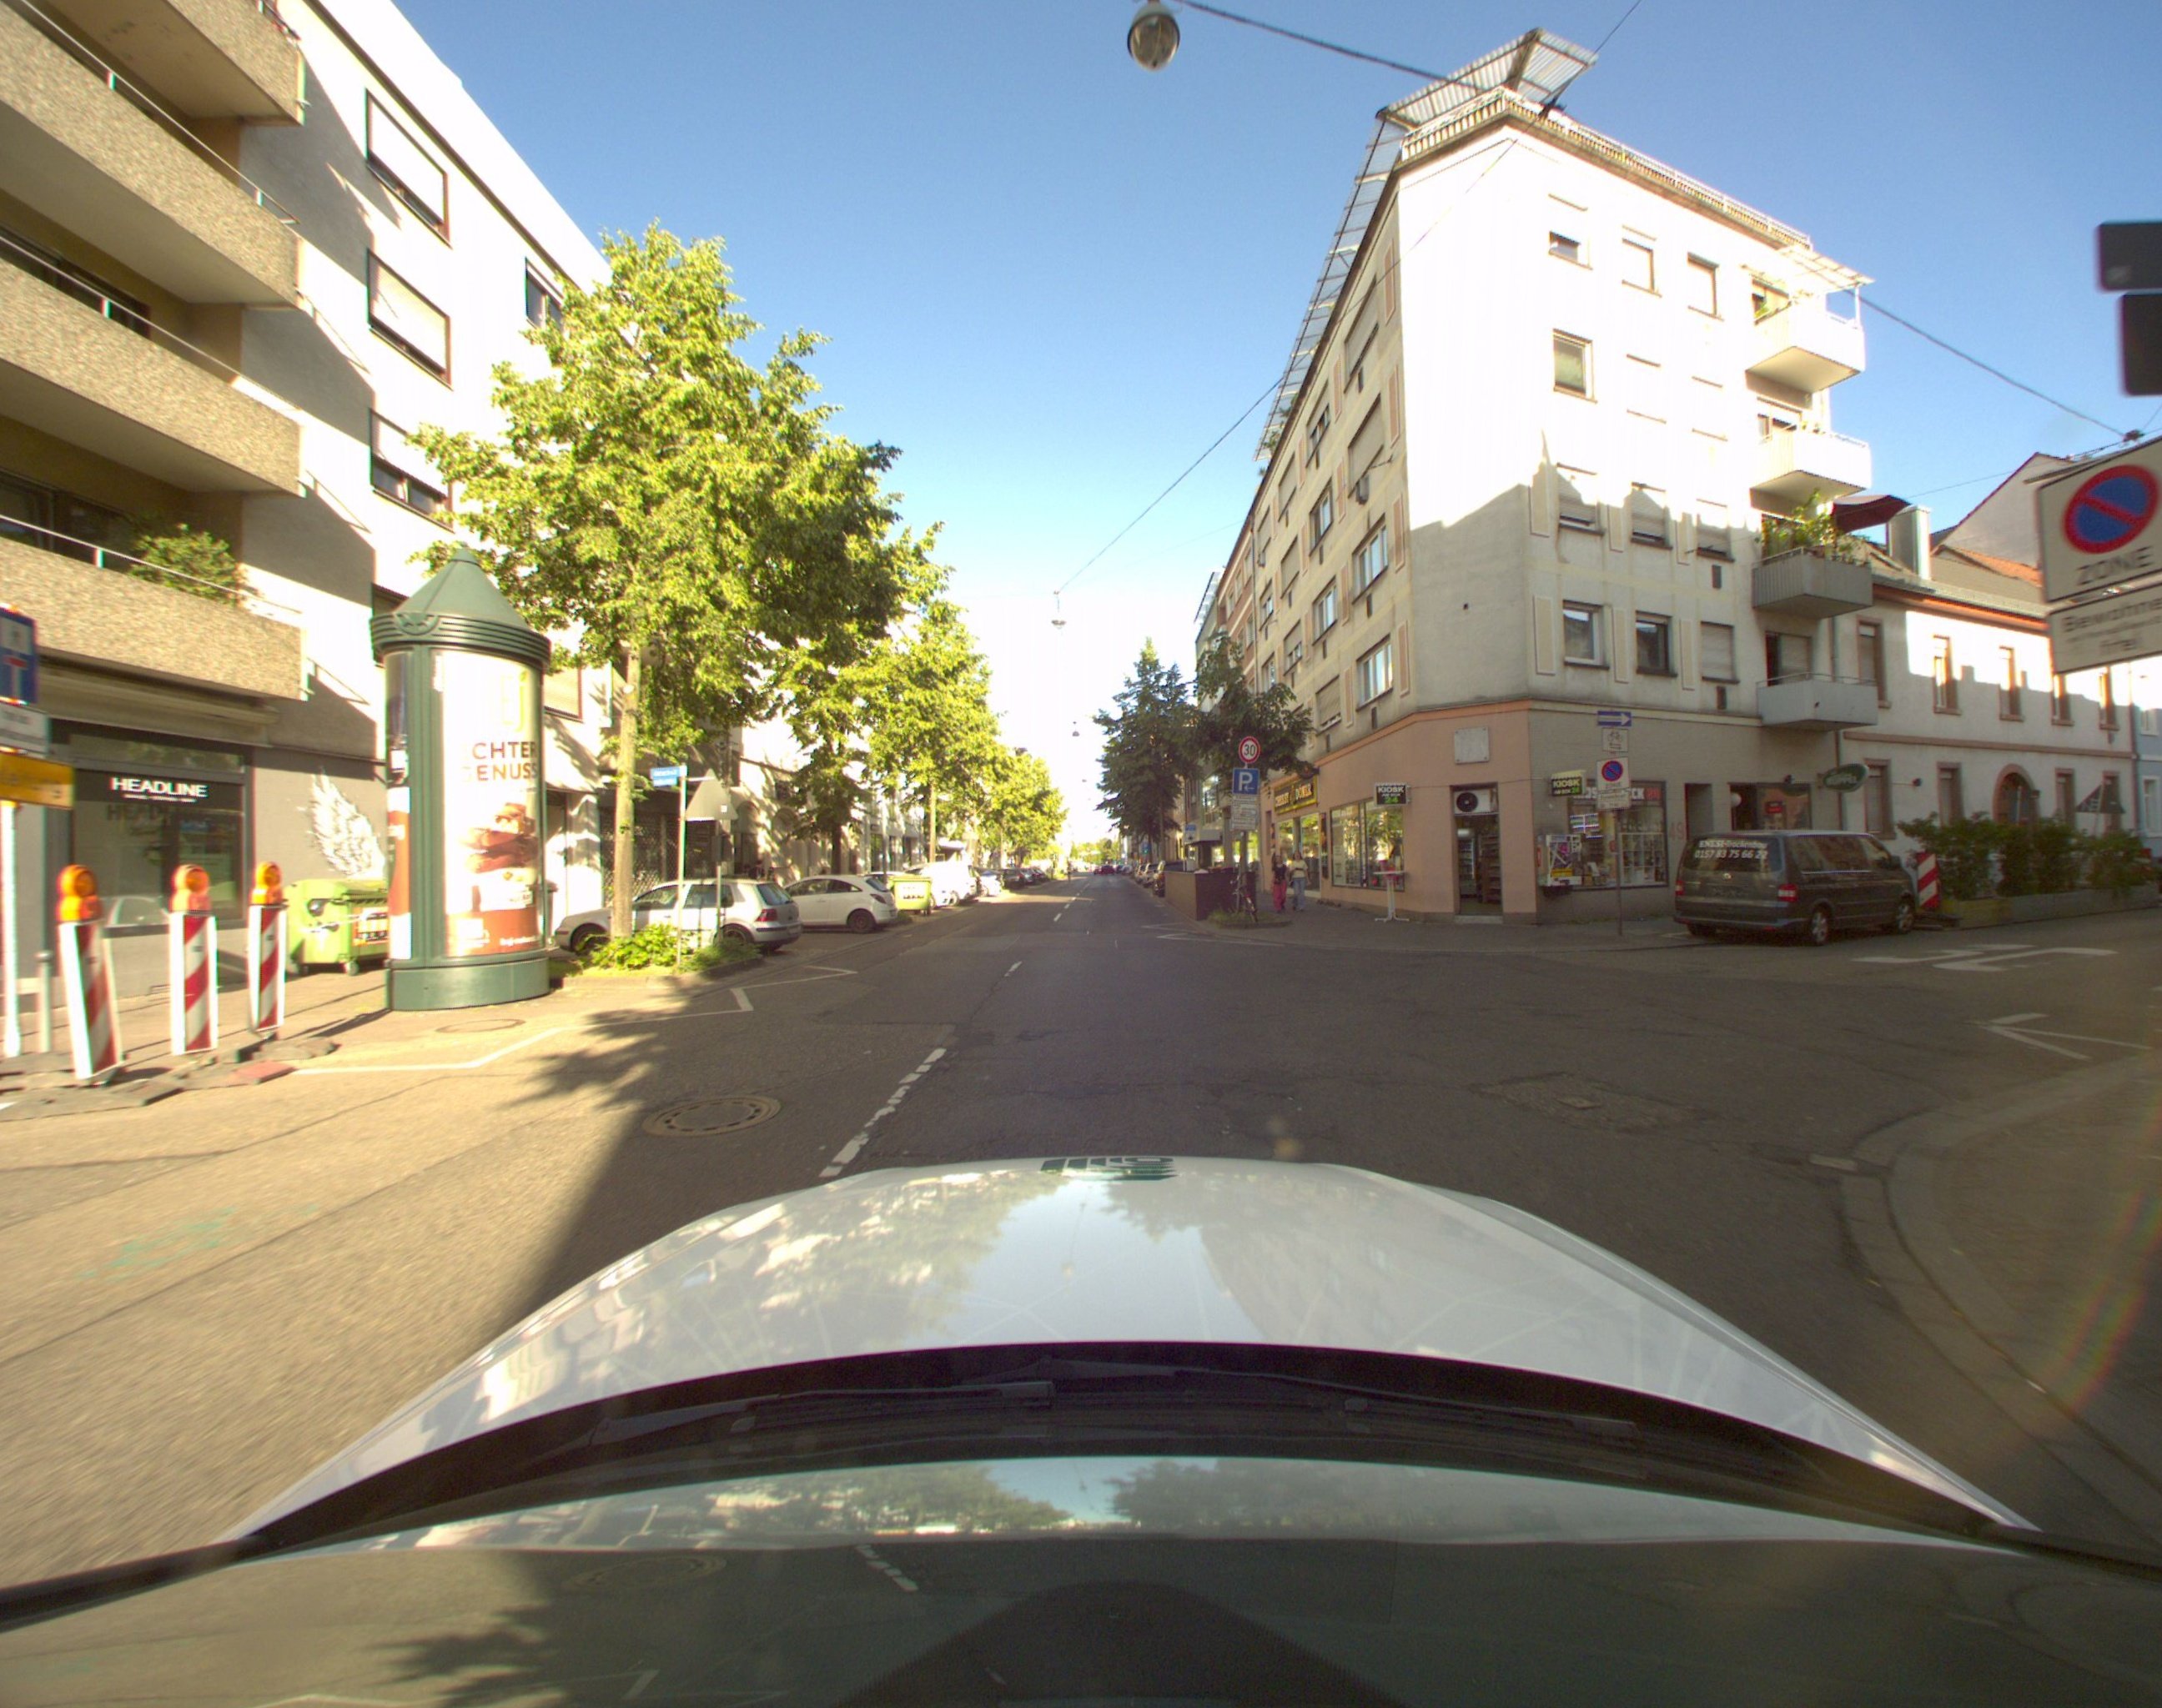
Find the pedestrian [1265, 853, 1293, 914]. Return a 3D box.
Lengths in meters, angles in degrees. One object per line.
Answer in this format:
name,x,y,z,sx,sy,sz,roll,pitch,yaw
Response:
pedestrian,5.523,0.803,22.733,0.512,1.645,0.748,-3,-1,0

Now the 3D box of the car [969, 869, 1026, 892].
car,-5.742,1.835,56.143,3.775,1.459,1.777,-1,-1,-6

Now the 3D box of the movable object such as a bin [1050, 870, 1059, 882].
movable object such as a bin,-3.250,2.715,100.762,1.038,1.471,1.143,-2,-1,0

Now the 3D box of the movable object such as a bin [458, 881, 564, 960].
movable object such as a bin,-11.155,1.275,16.000,1.073,1.415,1.352,-2,-1,2

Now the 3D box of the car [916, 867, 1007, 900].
car,-6.179,1.511,42.458,4.350,1.570,1.947,-1,-1,1

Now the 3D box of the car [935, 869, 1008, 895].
car,-6.623,1.709,49.568,4.235,1.459,1.978,-1,-1,-3

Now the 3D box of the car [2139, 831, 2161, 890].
car,32.166,0.145,22.913,3.824,1.644,1.927,-1,-2,-22

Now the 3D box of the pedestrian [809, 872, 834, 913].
pedestrian,-9.719,1.429,30.534,0.590,1.494,0.843,1,-1,3

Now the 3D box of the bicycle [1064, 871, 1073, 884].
bicycle,-1.201,2.308,79.868,0.722,1.169,2.198,-2,-1,2

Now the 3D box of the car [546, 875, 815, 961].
car,-7.165,1.134,14.874,3.983,1.464,1.748,0,-3,1

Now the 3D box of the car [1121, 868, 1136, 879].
car,7.002,2.882,120.070,1.910,1.478,4.966,-5,-1,2

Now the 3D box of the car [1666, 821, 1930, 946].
car,12.835,0.431,14.565,4.502,1.917,1.926,-2,0,-26

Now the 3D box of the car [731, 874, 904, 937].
car,-6.539,1.267,20.499,3.767,1.464,1.709,-1,-1,-2

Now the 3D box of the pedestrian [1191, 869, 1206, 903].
pedestrian,4.770,1.291,33.001,0.468,1.331,0.485,-1,-2,21

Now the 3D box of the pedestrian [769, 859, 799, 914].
pedestrian,-9.101,0.987,25.001,0.563,1.627,0.727,3,-2,0

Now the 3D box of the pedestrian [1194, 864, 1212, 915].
pedestrian,3.680,1.059,24.636,0.471,1.529,0.462,-1,-2,2

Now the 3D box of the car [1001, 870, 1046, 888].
car,-5.179,2.270,73.717,3.903,1.485,1.772,-1,-1,3

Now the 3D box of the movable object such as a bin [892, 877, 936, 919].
movable object such as a bin,-5.530,1.451,27.049,1.233,1.302,0.870,-2,-1,0

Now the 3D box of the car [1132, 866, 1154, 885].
car,5.334,1.833,70.093,1.608,1.529,3.061,-3,-1,1

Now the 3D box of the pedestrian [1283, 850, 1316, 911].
pedestrian,6.114,0.740,22.813,0.639,1.645,0.748,-3,-1,0

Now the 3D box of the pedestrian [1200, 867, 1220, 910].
pedestrian,4.281,1.139,27.083,0.550,1.379,0.594,-1,-2,2

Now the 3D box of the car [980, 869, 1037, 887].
car,-5.952,2.004,67.165,4.478,1.459,1.790,0,-1,0

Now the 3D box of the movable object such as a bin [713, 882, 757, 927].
movable object such as a bin,-11.068,1.597,26.069,0.818,1.398,1.228,-1,-1,4

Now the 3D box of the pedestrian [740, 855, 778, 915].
pedestrian,-9.869,0.946,24.995,0.772,1.766,0.763,3,-2,-1

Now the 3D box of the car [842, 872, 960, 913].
car,-6.709,1.422,30.707,3.964,1.464,1.887,-1,-1,2

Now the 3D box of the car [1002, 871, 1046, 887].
car,-5.308,2.356,76.289,3.825,1.429,1.791,-1,-1,3

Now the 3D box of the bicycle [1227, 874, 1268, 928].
bicycle,3.922,1.085,19.304,0.505,1.163,2.145,-2,-1,1

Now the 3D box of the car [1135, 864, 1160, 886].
car,5.194,1.669,64.217,1.608,1.529,4.235,-5,-1,1

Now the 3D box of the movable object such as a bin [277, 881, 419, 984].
movable object such as a bin,-11.338,1.180,12.658,1.029,1.460,1.259,-2,-1,2

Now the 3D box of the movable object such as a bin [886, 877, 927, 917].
movable object such as a bin,-5.997,1.470,28.048,1.188,1.345,0.932,-1,-1,0

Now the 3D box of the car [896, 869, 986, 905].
car,-6.463,1.515,37.911,3.785,1.558,1.792,-1,-1,2

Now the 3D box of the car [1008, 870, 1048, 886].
car,-5.117,2.278,78.819,3.735,1.468,1.740,-1,-1,1

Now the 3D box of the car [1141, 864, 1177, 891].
car,4.887,1.452,51.824,1.876,1.527,4.234,-4,-1,1

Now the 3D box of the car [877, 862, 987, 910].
car,-6.066,1.289,33.490,4.090,1.836,2.039,-1,-1,2

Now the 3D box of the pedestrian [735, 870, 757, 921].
pedestrian,-11.175,1.370,27.153,0.431,1.672,0.639,-1,-2,4

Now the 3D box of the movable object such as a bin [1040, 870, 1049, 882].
movable object such as a bin,-4.531,2.759,100.864,0.960,1.471,1.143,-2,-2,0

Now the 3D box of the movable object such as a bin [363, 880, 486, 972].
movable object such as a bin,-11.244,1.207,14.004,1.029,1.460,1.259,-2,-1,2

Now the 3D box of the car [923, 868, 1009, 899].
car,-6.286,1.626,44.889,4.350,1.570,1.981,-1,-1,1

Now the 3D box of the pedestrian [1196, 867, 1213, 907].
pedestrian,4.246,1.124,28.043,0.471,1.362,0.594,-1,-2,2

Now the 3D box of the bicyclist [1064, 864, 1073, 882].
bicyclist,-1.219,1.887,79.621,0.722,1.700,1.283,-2,-1,2

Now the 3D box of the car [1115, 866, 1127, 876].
car,6.816,2.952,139.467,1.966,1.725,4.826,0,-1,2

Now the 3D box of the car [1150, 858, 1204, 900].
car,4.432,1.128,38.319,1.987,1.689,4.517,-5,-1,1

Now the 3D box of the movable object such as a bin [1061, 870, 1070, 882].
movable object such as a bin,-1.886,2.694,100.930,1.038,1.471,1.452,-2,-1,0

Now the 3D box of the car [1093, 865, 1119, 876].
car,3.828,2.552,125.070,3.774,1.535,1.646,-2,-1,-33
